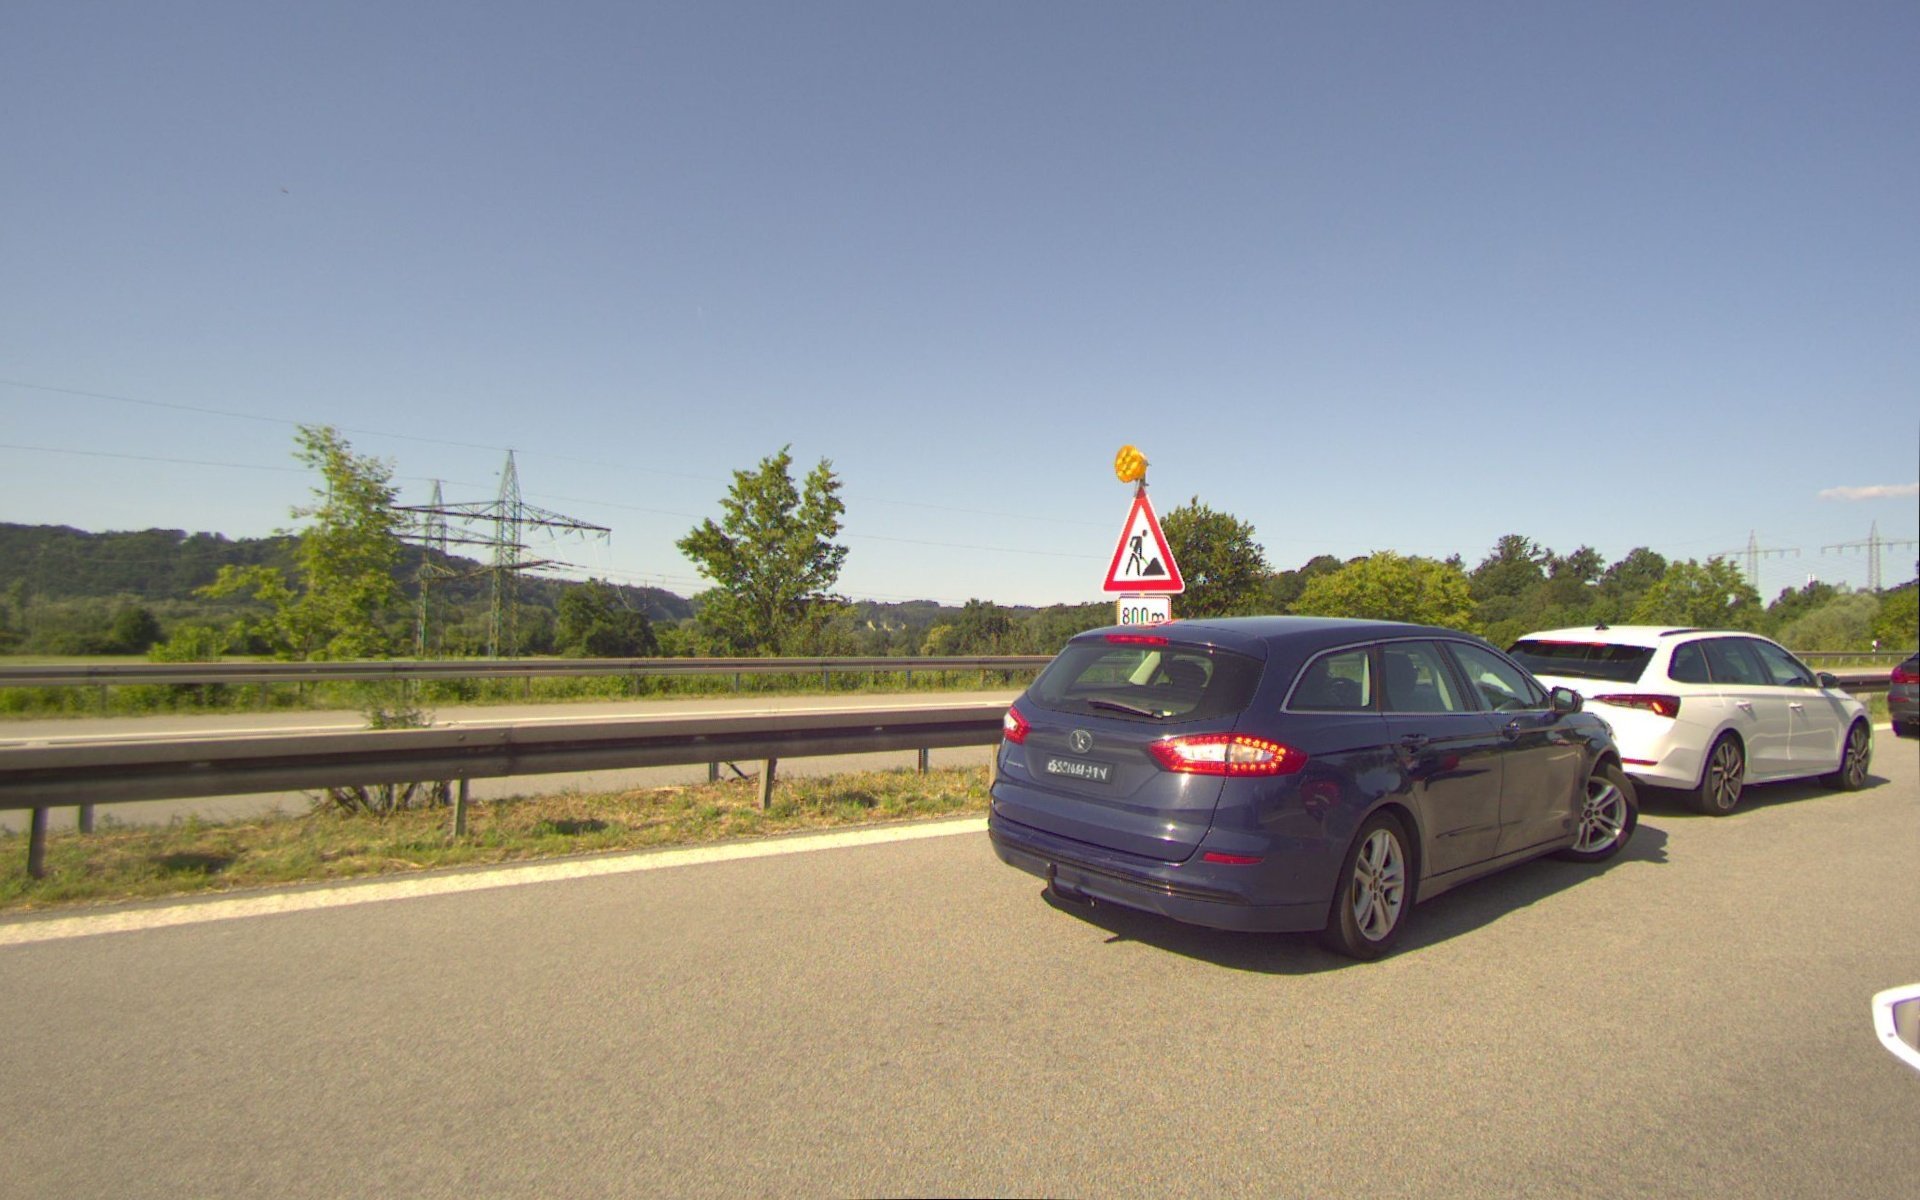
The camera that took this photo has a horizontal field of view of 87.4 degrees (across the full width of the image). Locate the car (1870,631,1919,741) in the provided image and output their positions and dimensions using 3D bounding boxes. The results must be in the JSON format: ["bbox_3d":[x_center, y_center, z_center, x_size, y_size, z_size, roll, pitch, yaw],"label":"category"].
[{"bbox_3d":[14.707,1.199,14.131,4.285,1.445,1.686,1,0,-32],"label":"car"}]

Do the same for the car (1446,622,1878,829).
[{"bbox_3d":[6.438,0.972,9.100,4.163,1.461,1.686,1,0,-32],"label":"car"}]

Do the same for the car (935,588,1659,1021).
[{"bbox_3d":[2.163,0.823,5.647,4.456,1.513,1.774,3,-3,-39],"label":"car"}]
